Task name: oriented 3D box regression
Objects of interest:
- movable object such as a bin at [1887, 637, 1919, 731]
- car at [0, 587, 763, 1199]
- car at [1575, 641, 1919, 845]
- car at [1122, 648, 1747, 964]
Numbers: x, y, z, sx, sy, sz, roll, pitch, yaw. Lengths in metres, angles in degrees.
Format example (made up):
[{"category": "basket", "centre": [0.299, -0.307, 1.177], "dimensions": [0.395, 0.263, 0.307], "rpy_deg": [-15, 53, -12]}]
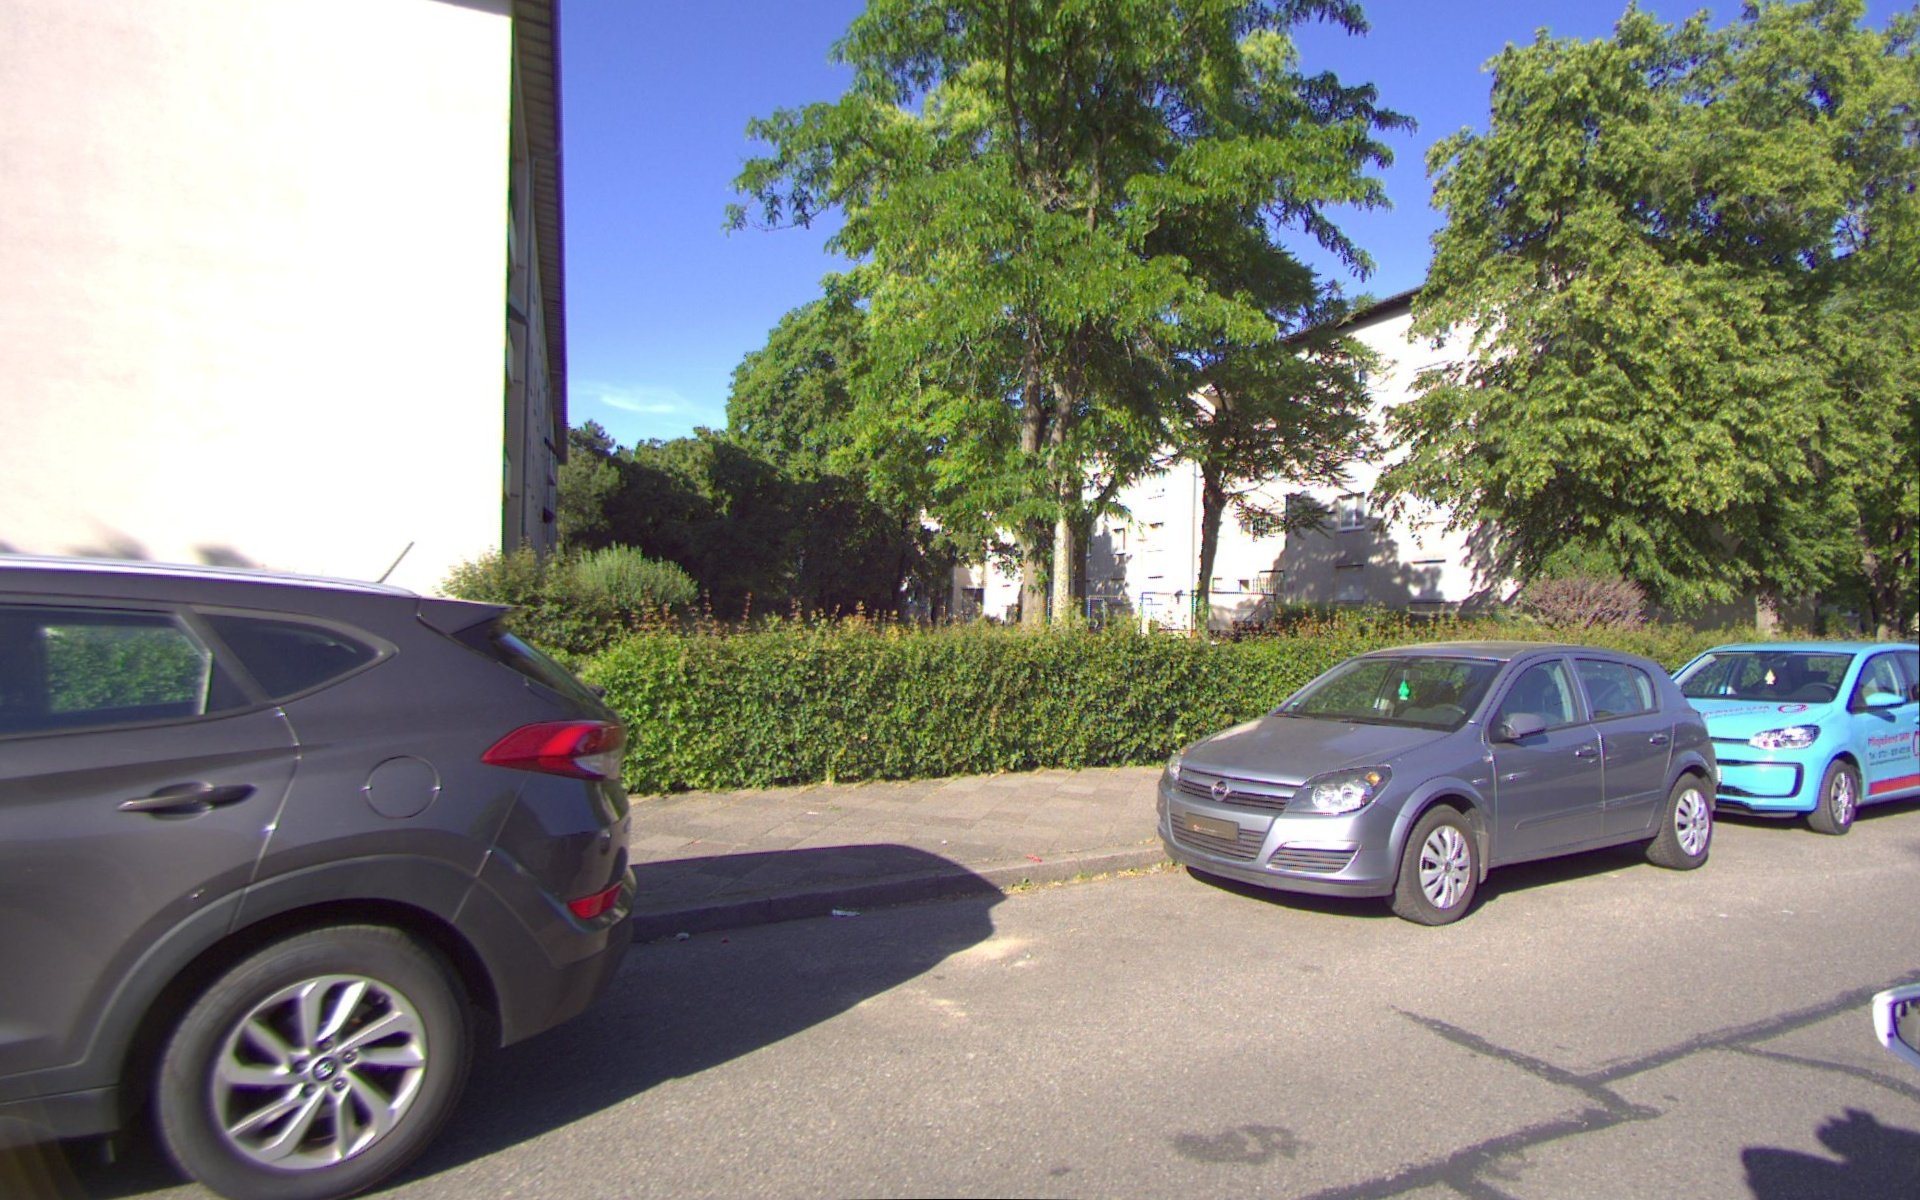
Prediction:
[{"category": "movable object such as a bin", "centre": [16.525, 1.402, 16.819], "dimensions": [1.391, 1.518, 1.106], "rpy_deg": [0, -1, -29]}, {"category": "car", "centre": [-2.890, 0.801, 2.770], "dimensions": [4.308, 1.639, 1.741], "rpy_deg": [1, -1, -28]}, {"category": "car", "centre": [7.424, 1.122, 8.989], "dimensions": [3.632, 1.493, 1.664], "rpy_deg": [1, -2, -28]}, {"category": "car", "centre": [3.107, 1.044, 6.425], "dimensions": [3.952, 1.456, 1.663], "rpy_deg": [1, -3, -30]}]
